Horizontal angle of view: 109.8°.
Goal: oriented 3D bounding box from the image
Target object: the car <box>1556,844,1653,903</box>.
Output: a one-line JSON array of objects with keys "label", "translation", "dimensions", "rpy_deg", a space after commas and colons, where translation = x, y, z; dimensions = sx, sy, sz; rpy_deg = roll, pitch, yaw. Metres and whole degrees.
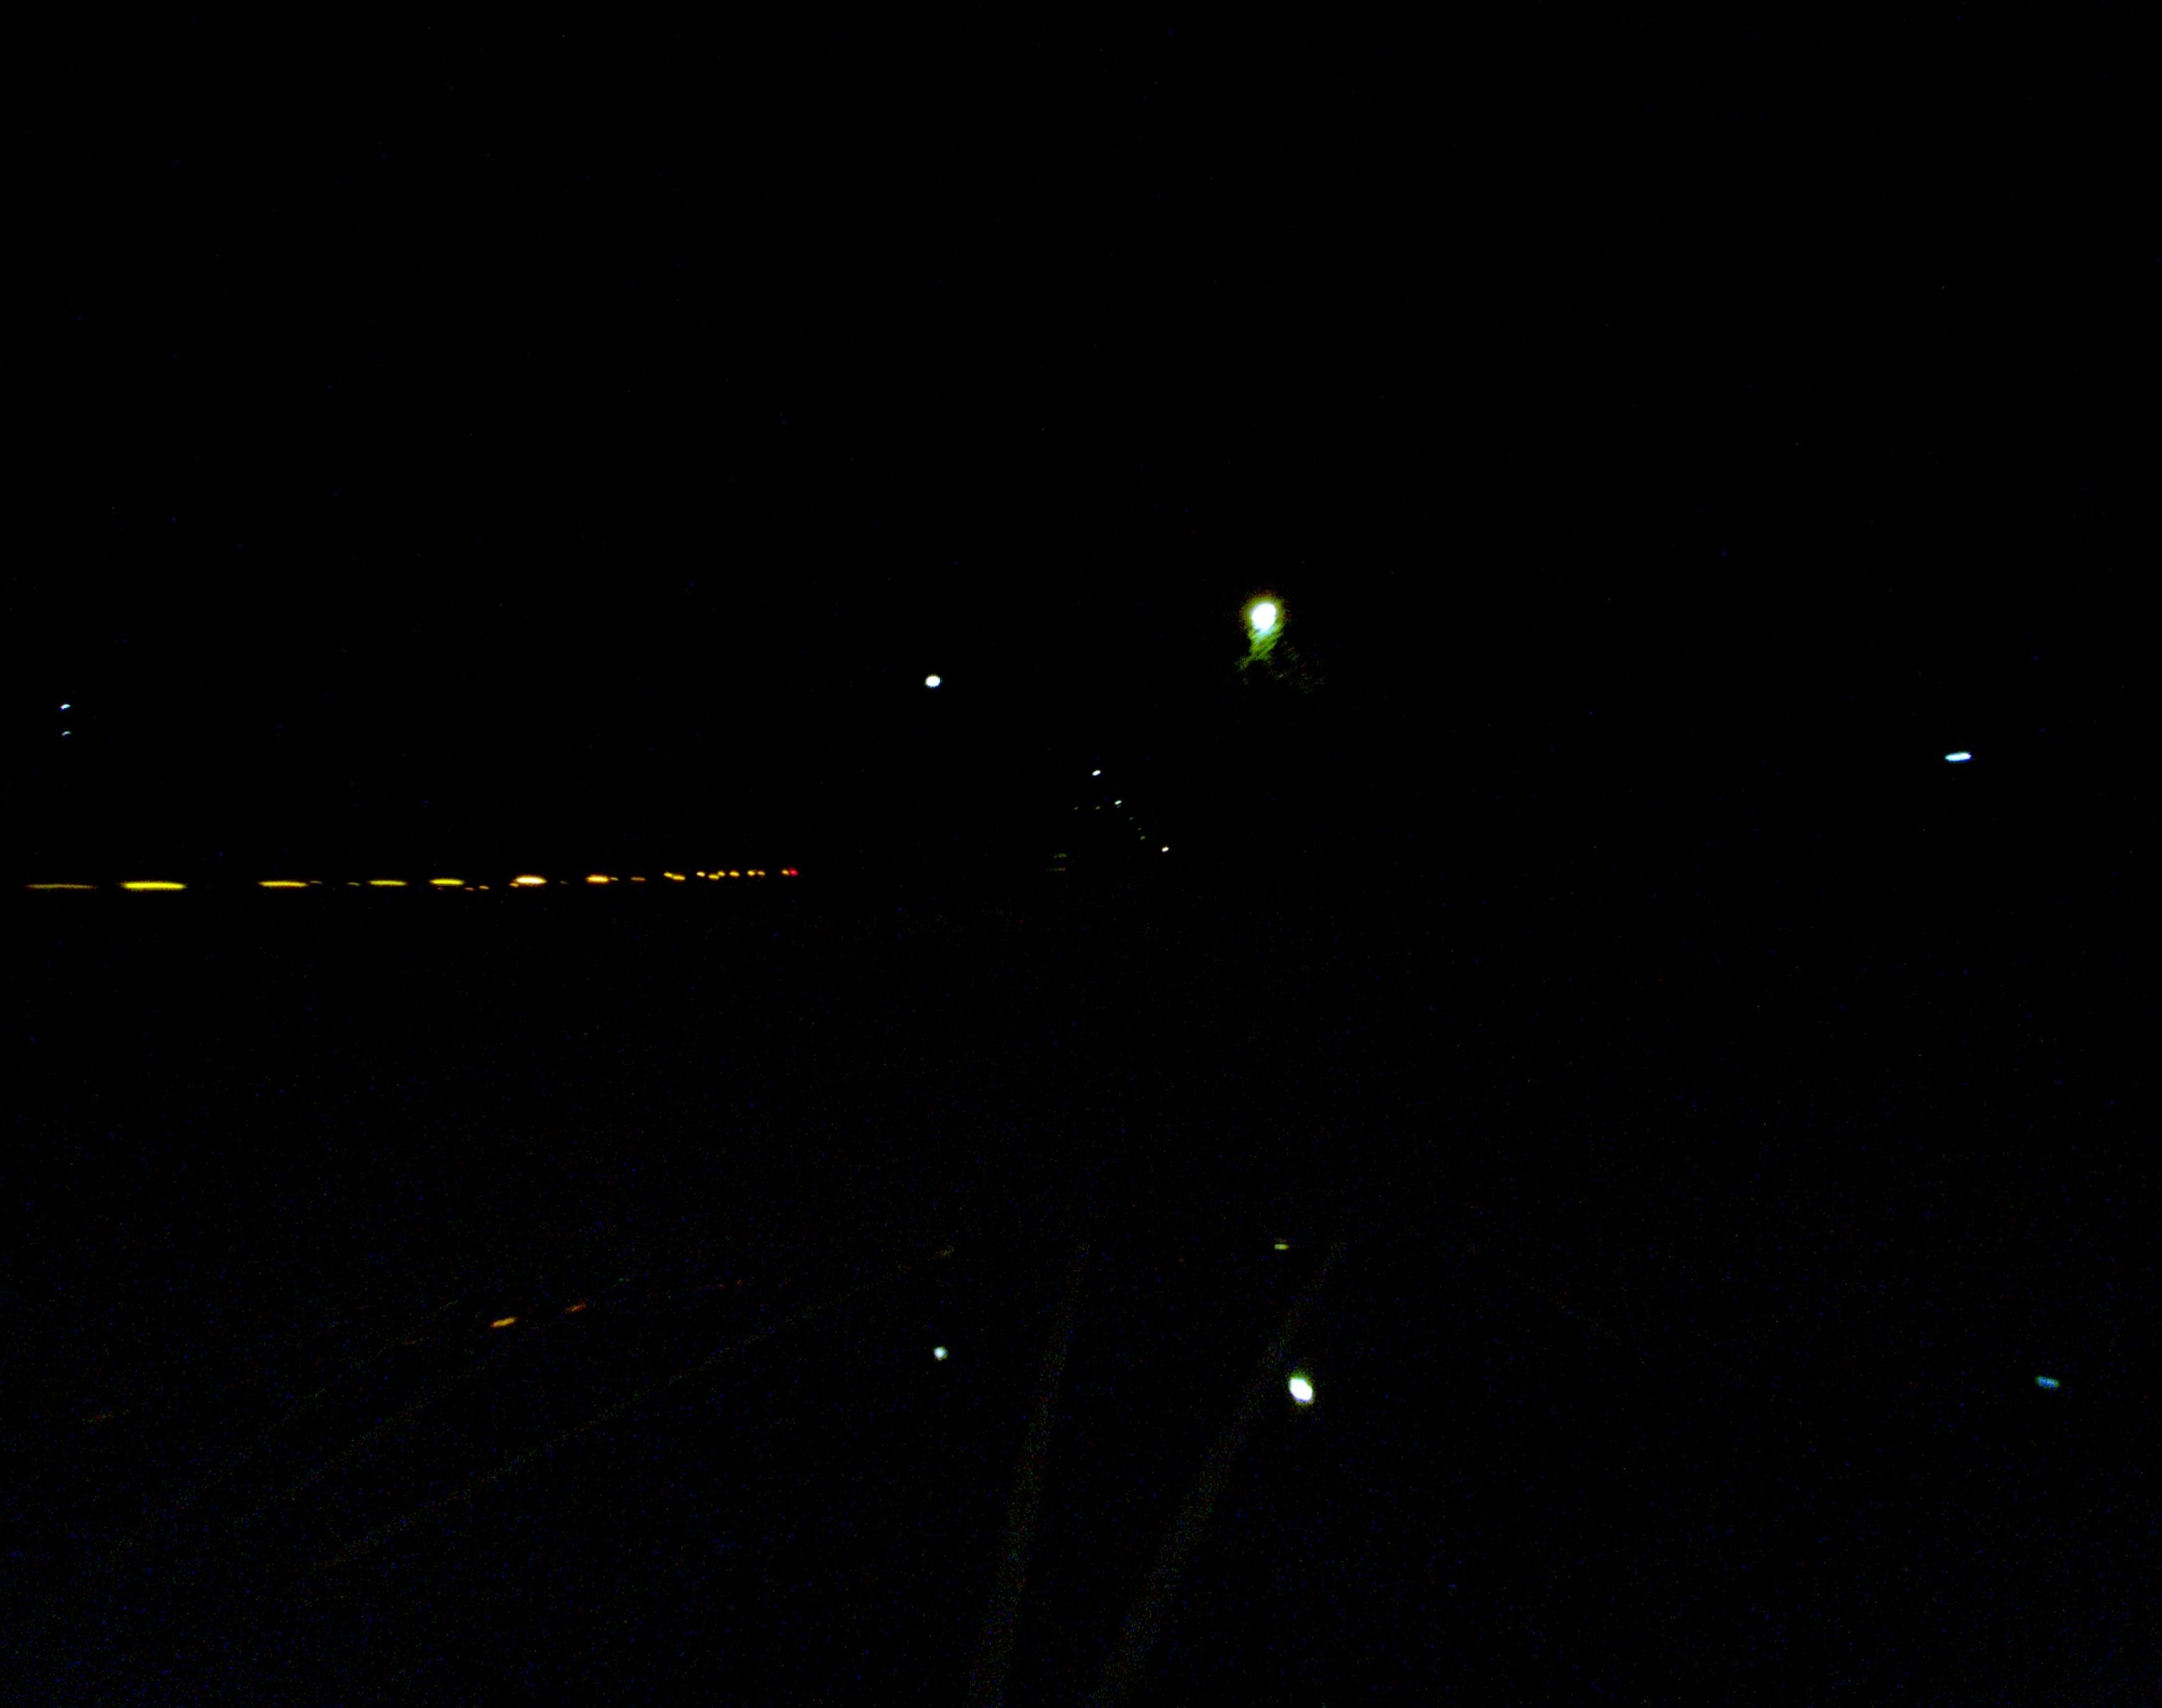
[{"label": "car", "translation": [24.469, 0.876, 35.745], "dimensions": [1.997, 2.539, 4.487], "rpy_deg": [-4, -1, 11]}]

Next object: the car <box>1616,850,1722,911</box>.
[{"label": "car", "translation": [27.249, 1.183, 35.432], "dimensions": [1.997, 2.539, 4.487], "rpy_deg": [-4, -1, 11]}]

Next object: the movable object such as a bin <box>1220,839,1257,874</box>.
[{"label": "movable object such as a bin", "translation": [11.629, 0.170, 56.171], "dimensions": [1.554, 2.453, 2.836], "rpy_deg": [-2, 1, -14]}]

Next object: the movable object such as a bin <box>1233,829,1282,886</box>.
[{"label": "movable object such as a bin", "translation": [8.782, 0.184, 37.997], "dimensions": [1.574, 2.718, 3.701], "rpy_deg": [0, -1, 0]}]

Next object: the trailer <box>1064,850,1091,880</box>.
[{"label": "trailer", "translation": [-0.280, 0.958, 66.659], "dimensions": [1.635, 2.459, 5.030], "rpy_deg": [-3, -1, 7]}]

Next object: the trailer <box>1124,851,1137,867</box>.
[{"label": "trailer", "translation": [10.324, 1.061, 158.521], "dimensions": [2.403, 3.305, 4.364], "rpy_deg": [-3, -1, 4]}]

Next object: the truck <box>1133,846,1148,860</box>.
[{"label": "truck", "translation": [16.645, -0.228, 210.241], "dimensions": [2.514, 3.814, 12.669], "rpy_deg": [-4, -1, 11]}]

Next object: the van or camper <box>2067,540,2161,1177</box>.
[{"label": "van or camper", "translation": [6.025, 0.037, 0.206], "dimensions": [2.524, 3.076, 7.449], "rpy_deg": [-1, 0, 8]}]

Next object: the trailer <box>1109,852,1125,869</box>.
[{"label": "trailer", "translation": [5.875, 1.033, 123.770], "dimensions": [1.997, 2.635, 4.003], "rpy_deg": [-3, -1, 9]}]

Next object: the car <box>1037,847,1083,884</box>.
[{"label": "car", "translation": [-1.453, 0.843, 56.641], "dimensions": [2.112, 2.501, 6.376], "rpy_deg": [-3, -1, 9]}]

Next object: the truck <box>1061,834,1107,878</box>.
[{"label": "truck", "translation": [0.397, 0.191, 74.933], "dimensions": [3.331, 3.845, 9.332], "rpy_deg": [-3, 0, 6]}]

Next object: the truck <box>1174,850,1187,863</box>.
[{"label": "truck", "translation": [30.050, 0.841, 228.983], "dimensions": [2.828, 3.610, 10.405], "rpy_deg": [-3, -1, 3]}]

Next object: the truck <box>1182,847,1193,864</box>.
[{"label": "truck", "translation": [28.319, 0.432, 201.160], "dimensions": [2.643, 4.289, 12.831], "rpy_deg": [-1, 0, 9]}]

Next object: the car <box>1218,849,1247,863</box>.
[{"label": "car", "translation": [25.311, 0.365, 127.317], "dimensions": [4.441, 1.960, 2.001], "rpy_deg": [-4, -1, 6]}]
